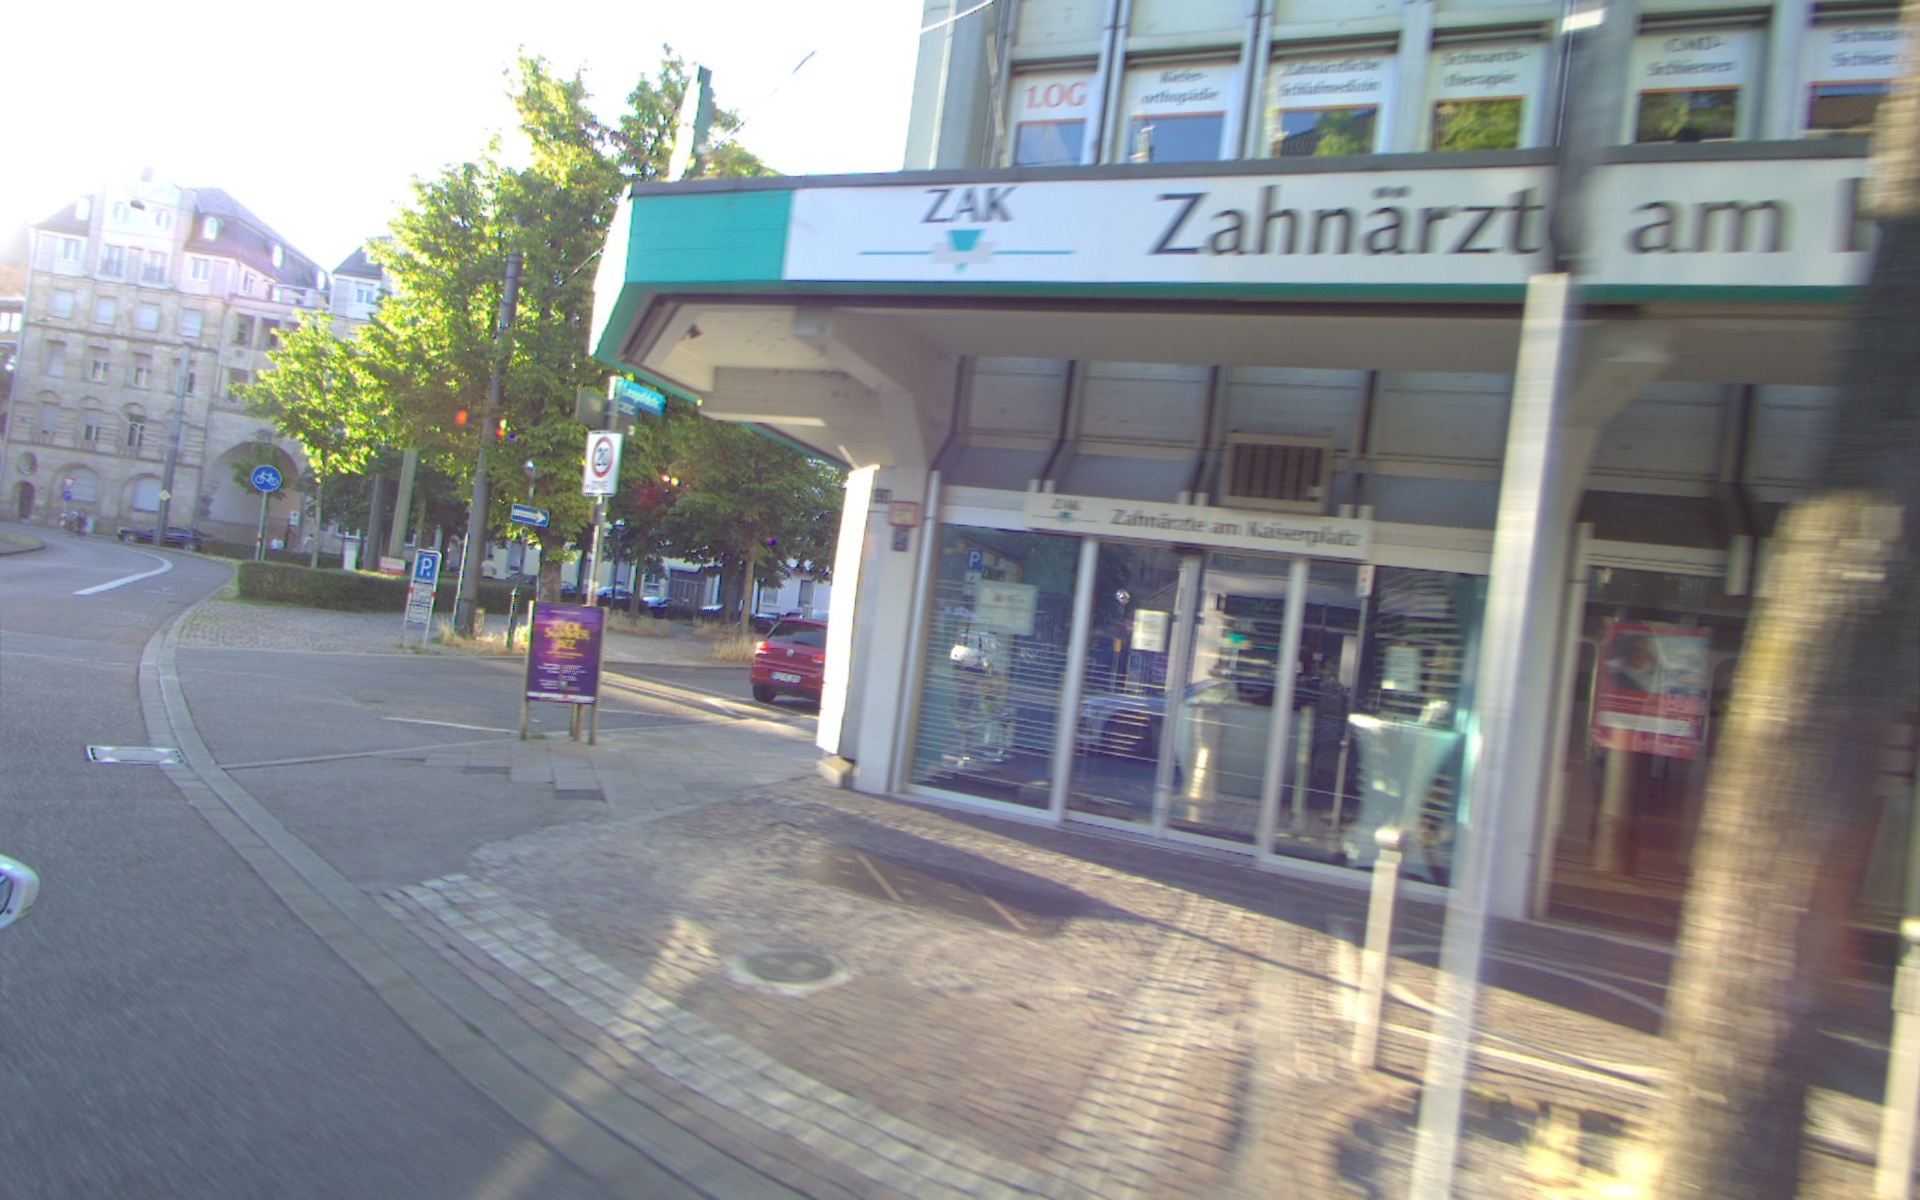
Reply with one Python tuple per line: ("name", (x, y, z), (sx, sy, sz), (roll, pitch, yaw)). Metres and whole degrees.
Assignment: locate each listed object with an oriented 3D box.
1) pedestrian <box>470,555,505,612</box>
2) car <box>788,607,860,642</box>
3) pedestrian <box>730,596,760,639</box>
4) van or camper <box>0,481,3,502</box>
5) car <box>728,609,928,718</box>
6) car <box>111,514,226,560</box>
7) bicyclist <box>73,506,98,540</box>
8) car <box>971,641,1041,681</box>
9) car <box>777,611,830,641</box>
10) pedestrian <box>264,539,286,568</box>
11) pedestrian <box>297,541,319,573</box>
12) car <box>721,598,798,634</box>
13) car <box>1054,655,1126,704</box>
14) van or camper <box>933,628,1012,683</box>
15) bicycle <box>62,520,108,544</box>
("pedestrian", (-17.797, -0.608, 37.901), (0.639, 2.037, 0.818), (8, -1, 3))
("car", (-7.417, 1.385, 55.219), (1.828, 1.442, 4.471), (6, -3, 22))
("pedestrian", (-9.539, 0.795, 44.622), (0.755, 1.769, 1.008), (8, -1, 8))
("van or camper", (-55.360, -5.674, 54.444), (6.204, 2.502, 2.616), (8, -1, 22))
("car", (-2.162, 1.141, 17.637), (1.799, 1.456, 3.872), (8, -2, 19))
("car", (-45.365, -3.564, 57.778), (4.701, 1.782, 1.814), (9, -1, -18))
("bicyclist", (-46.801, -4.111, 53.843), (0.760, 1.661, 0.511), (7, -1, 11))
("car", (2.087, 2.716, 44.212), (1.827, 1.442, 4.334), (6, -2, 19))
("car", (-10.303, 1.734, 66.606), (1.962, 1.581, 4.006), (8, -2, 13))
("pedestrian", (-38.669, -2.606, 56.783), (0.583, 1.528, 0.687), (8, -1, -4))
("pedestrian", (-33.023, -2.167, 50.971), (0.626, 1.528, 0.684), (8, -1, -21))
("car", (-10.769, 0.884, 54.276), (1.828, 1.442, 4.471), (6, -3, 22))
("car", (4.933, 2.988, 37.791), (1.799, 1.456, 3.872), (8, -2, 19))
("van or camper", (0.561, 2.227, 39.661), (1.799, 1.788, 3.872), (8, -2, 19))
("bicycle", (-46.880, -3.655, 53.891), (2.199, 0.990, 0.511), (8, -1, 11))
